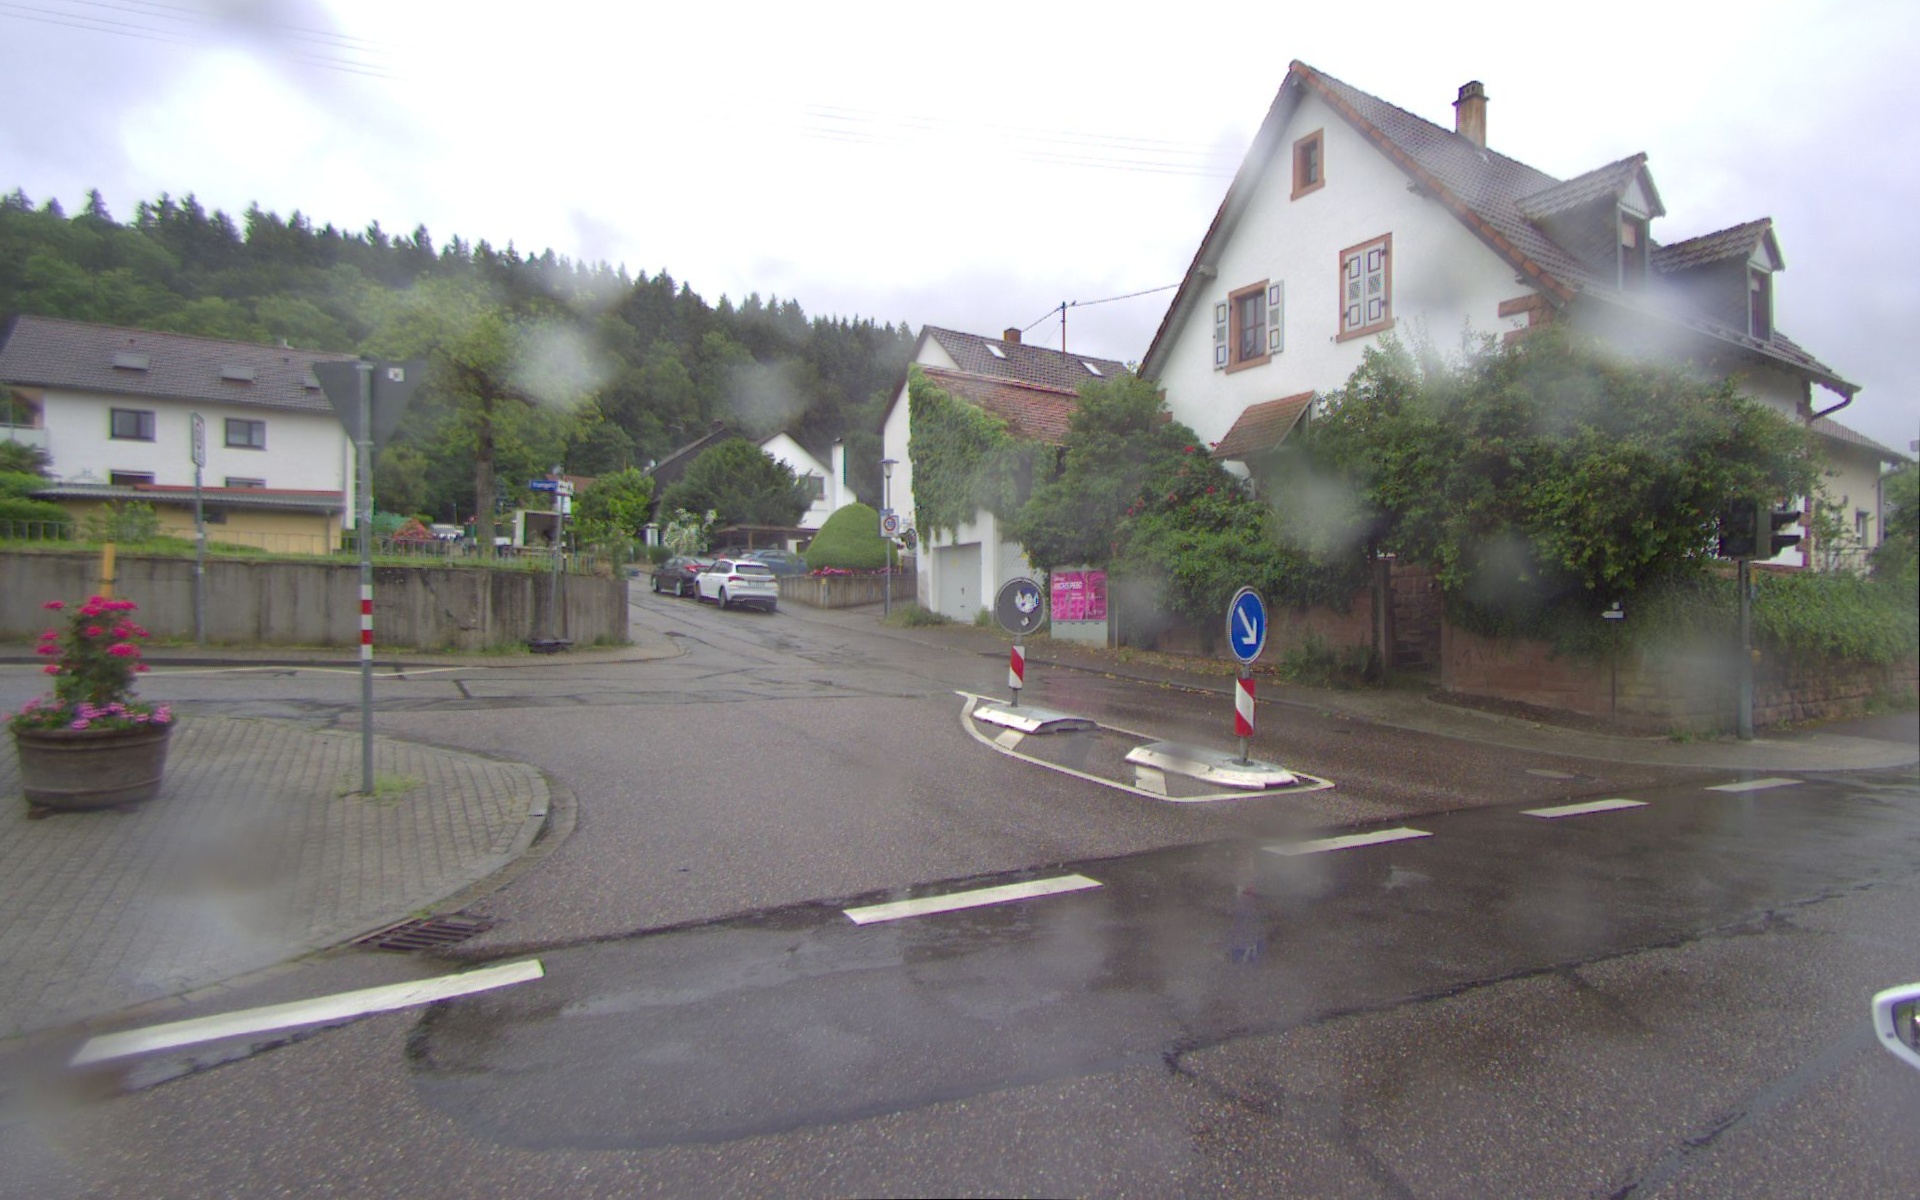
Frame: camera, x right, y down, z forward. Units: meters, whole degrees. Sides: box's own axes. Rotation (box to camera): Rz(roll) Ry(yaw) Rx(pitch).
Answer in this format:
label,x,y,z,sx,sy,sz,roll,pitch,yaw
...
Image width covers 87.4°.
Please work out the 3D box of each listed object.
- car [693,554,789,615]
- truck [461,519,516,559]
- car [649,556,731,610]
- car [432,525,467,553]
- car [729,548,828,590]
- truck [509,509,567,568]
label,x,y,z,sx,sy,sz,roll,pitch,yaw
car,-7.140,-0.543,32.434,1.878,1.535,3.858,2,5,-31
truck,-27.888,-3.560,59.305,2.274,2.155,6.027,1,1,-31
car,-9.847,-0.645,36.502,1.878,1.535,3.858,2,5,-31
car,-39.833,-4.745,78.295,1.897,2.040,3.961,2,1,-35
car,-8.043,-1.383,44.618,3.848,1.534,1.884,2,5,-32
truck,-26.274,-3.760,62.426,2.425,3.397,6.602,1,2,-30
